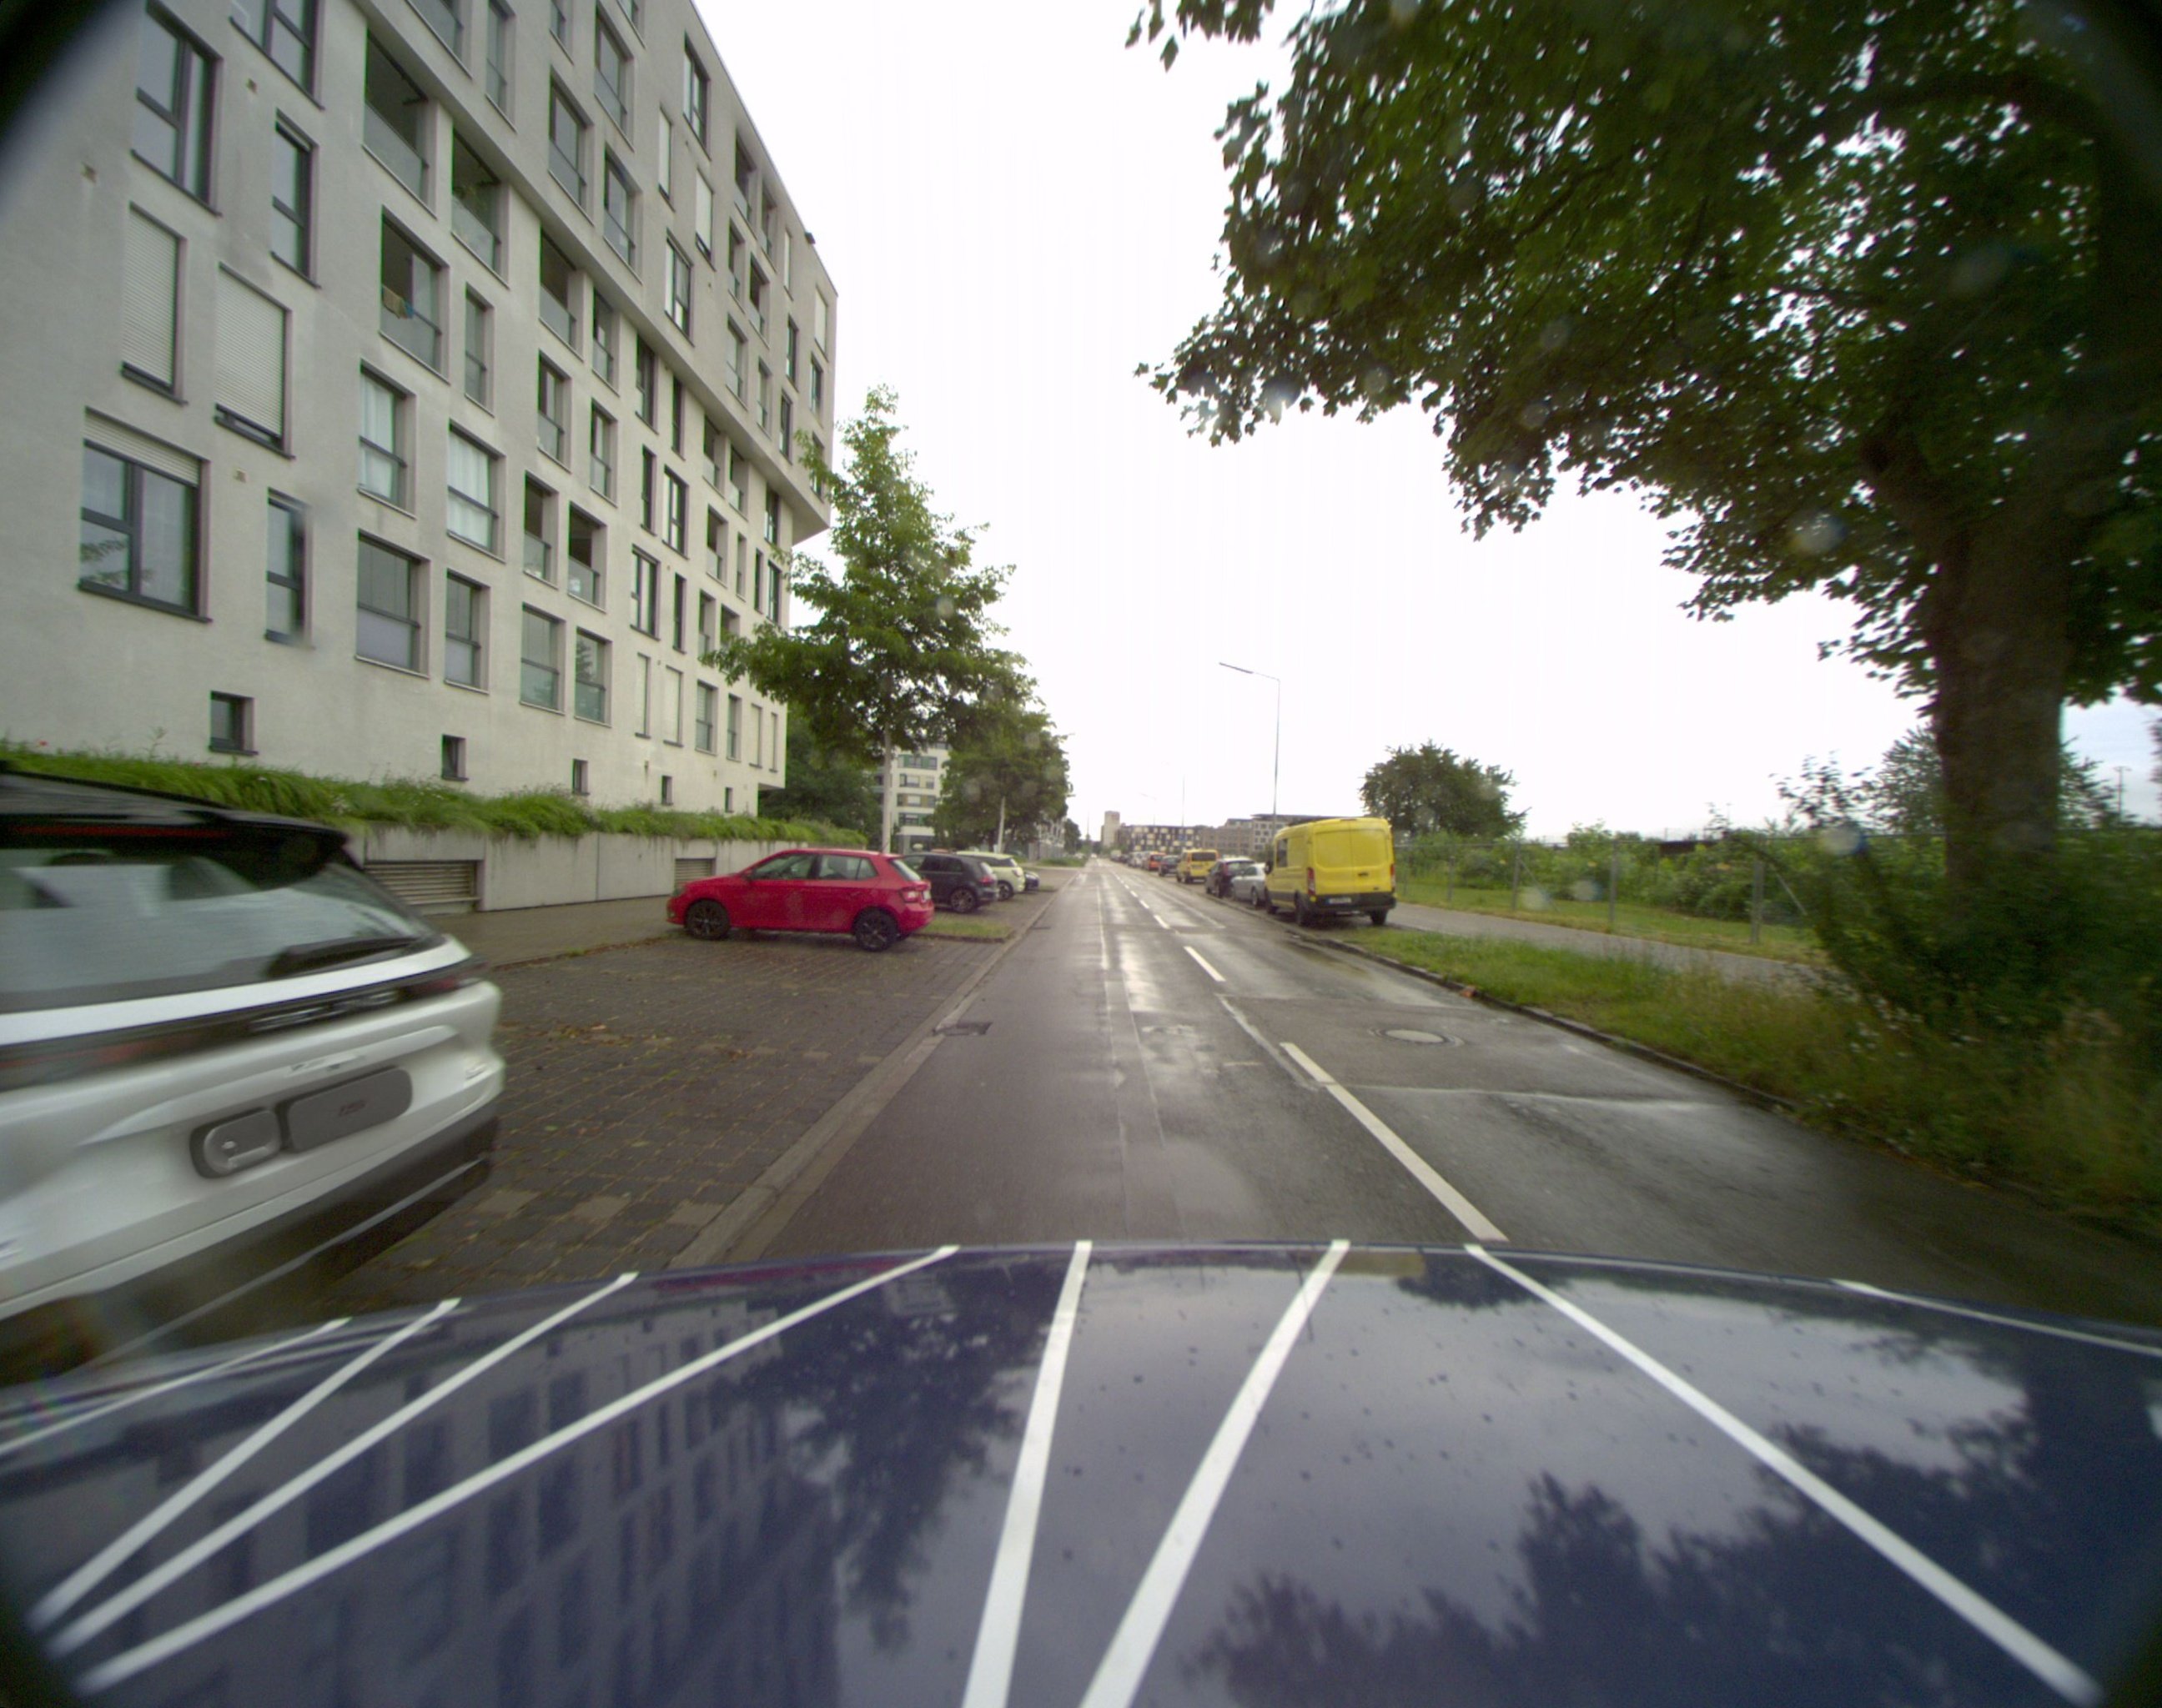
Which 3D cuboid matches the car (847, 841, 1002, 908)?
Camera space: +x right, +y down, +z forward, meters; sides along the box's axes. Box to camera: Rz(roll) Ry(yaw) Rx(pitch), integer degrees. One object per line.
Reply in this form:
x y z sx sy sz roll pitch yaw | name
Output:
-4.453 0.560 21.957 3.996 1.546 1.635 5 1 1 | car

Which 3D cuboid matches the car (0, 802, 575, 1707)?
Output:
-4.120 0.624 1.686 4.551 1.675 1.885 7 1 -1 | car

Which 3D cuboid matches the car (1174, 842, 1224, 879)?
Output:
6.712 0.315 43.766 2.022 1.945 6.064 0 1 1 | car

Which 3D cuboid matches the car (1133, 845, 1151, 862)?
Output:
7.691 -0.041 96.279 1.964 2.046 5.274 1 0 2 | car

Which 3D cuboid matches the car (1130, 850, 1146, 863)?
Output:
8.229 0.359 109.683 1.960 1.890 4.995 2 0 1 | car

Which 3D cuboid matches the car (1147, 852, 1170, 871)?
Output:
7.479 0.700 73.754 1.944 1.757 4.332 2 0 3 | car

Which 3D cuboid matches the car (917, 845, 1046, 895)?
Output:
-3.724 0.599 28.977 4.582 1.488 1.825 5 1 0 | car

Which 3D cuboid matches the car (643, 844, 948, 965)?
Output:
-4.282 0.718 11.881 3.997 1.443 1.820 4 2 0 | car

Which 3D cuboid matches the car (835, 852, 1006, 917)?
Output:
-3.990 0.743 19.332 3.967 1.466 1.591 2 1 -1 | car

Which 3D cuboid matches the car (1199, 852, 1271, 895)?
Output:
6.260 0.737 31.479 1.998 1.585 5.017 0 1 0 | car

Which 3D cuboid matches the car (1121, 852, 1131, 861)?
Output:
9.251 0.520 155.797 1.756 1.683 4.882 2 0 4 | car

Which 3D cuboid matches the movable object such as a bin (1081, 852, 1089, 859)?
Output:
0.852 0.273 161.968 1.499 1.484 1.155 5 1 1 | movable object such as a bin

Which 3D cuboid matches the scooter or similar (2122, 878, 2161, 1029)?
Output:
9.858 0.902 6.307 0.436 1.332 1.411 2 1 2 | scooter or similar

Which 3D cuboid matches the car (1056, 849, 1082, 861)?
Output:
-1.919 0.141 125.262 4.099 1.614 1.966 4 1 0 | car

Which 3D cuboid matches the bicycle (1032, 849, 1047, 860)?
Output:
-6.252 0.042 115.102 2.189 1.514 0.631 3 1 22 | bicycle

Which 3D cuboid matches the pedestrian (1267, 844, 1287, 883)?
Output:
10.232 0.505 39.689 0.744 2.002 0.980 1 1 2 | pedestrian

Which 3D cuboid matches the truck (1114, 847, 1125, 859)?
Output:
10.085 -0.321 200.356 2.441 3.050 6.700 1 0 1 | truck

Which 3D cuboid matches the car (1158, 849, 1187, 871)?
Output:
6.769 0.442 56.475 1.808 1.552 4.033 -1 0 2 | car

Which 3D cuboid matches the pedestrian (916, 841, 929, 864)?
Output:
-14.311 -0.127 68.747 0.967 2.002 0.622 2 1 1 | pedestrian

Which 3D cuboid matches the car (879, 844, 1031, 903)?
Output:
-4.002 0.604 24.574 4.498 1.473 1.692 5 1 1 | car

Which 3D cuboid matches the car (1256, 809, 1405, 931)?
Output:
6.225 0.340 19.884 2.197 2.679 6.082 0 0 3 | car

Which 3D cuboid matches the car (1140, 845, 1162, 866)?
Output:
7.849 0.110 85.691 1.947 2.223 5.557 2 0 1 | car

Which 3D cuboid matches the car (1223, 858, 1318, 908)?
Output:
6.348 0.897 26.144 2.015 1.426 5.339 -1 1 1 | car
